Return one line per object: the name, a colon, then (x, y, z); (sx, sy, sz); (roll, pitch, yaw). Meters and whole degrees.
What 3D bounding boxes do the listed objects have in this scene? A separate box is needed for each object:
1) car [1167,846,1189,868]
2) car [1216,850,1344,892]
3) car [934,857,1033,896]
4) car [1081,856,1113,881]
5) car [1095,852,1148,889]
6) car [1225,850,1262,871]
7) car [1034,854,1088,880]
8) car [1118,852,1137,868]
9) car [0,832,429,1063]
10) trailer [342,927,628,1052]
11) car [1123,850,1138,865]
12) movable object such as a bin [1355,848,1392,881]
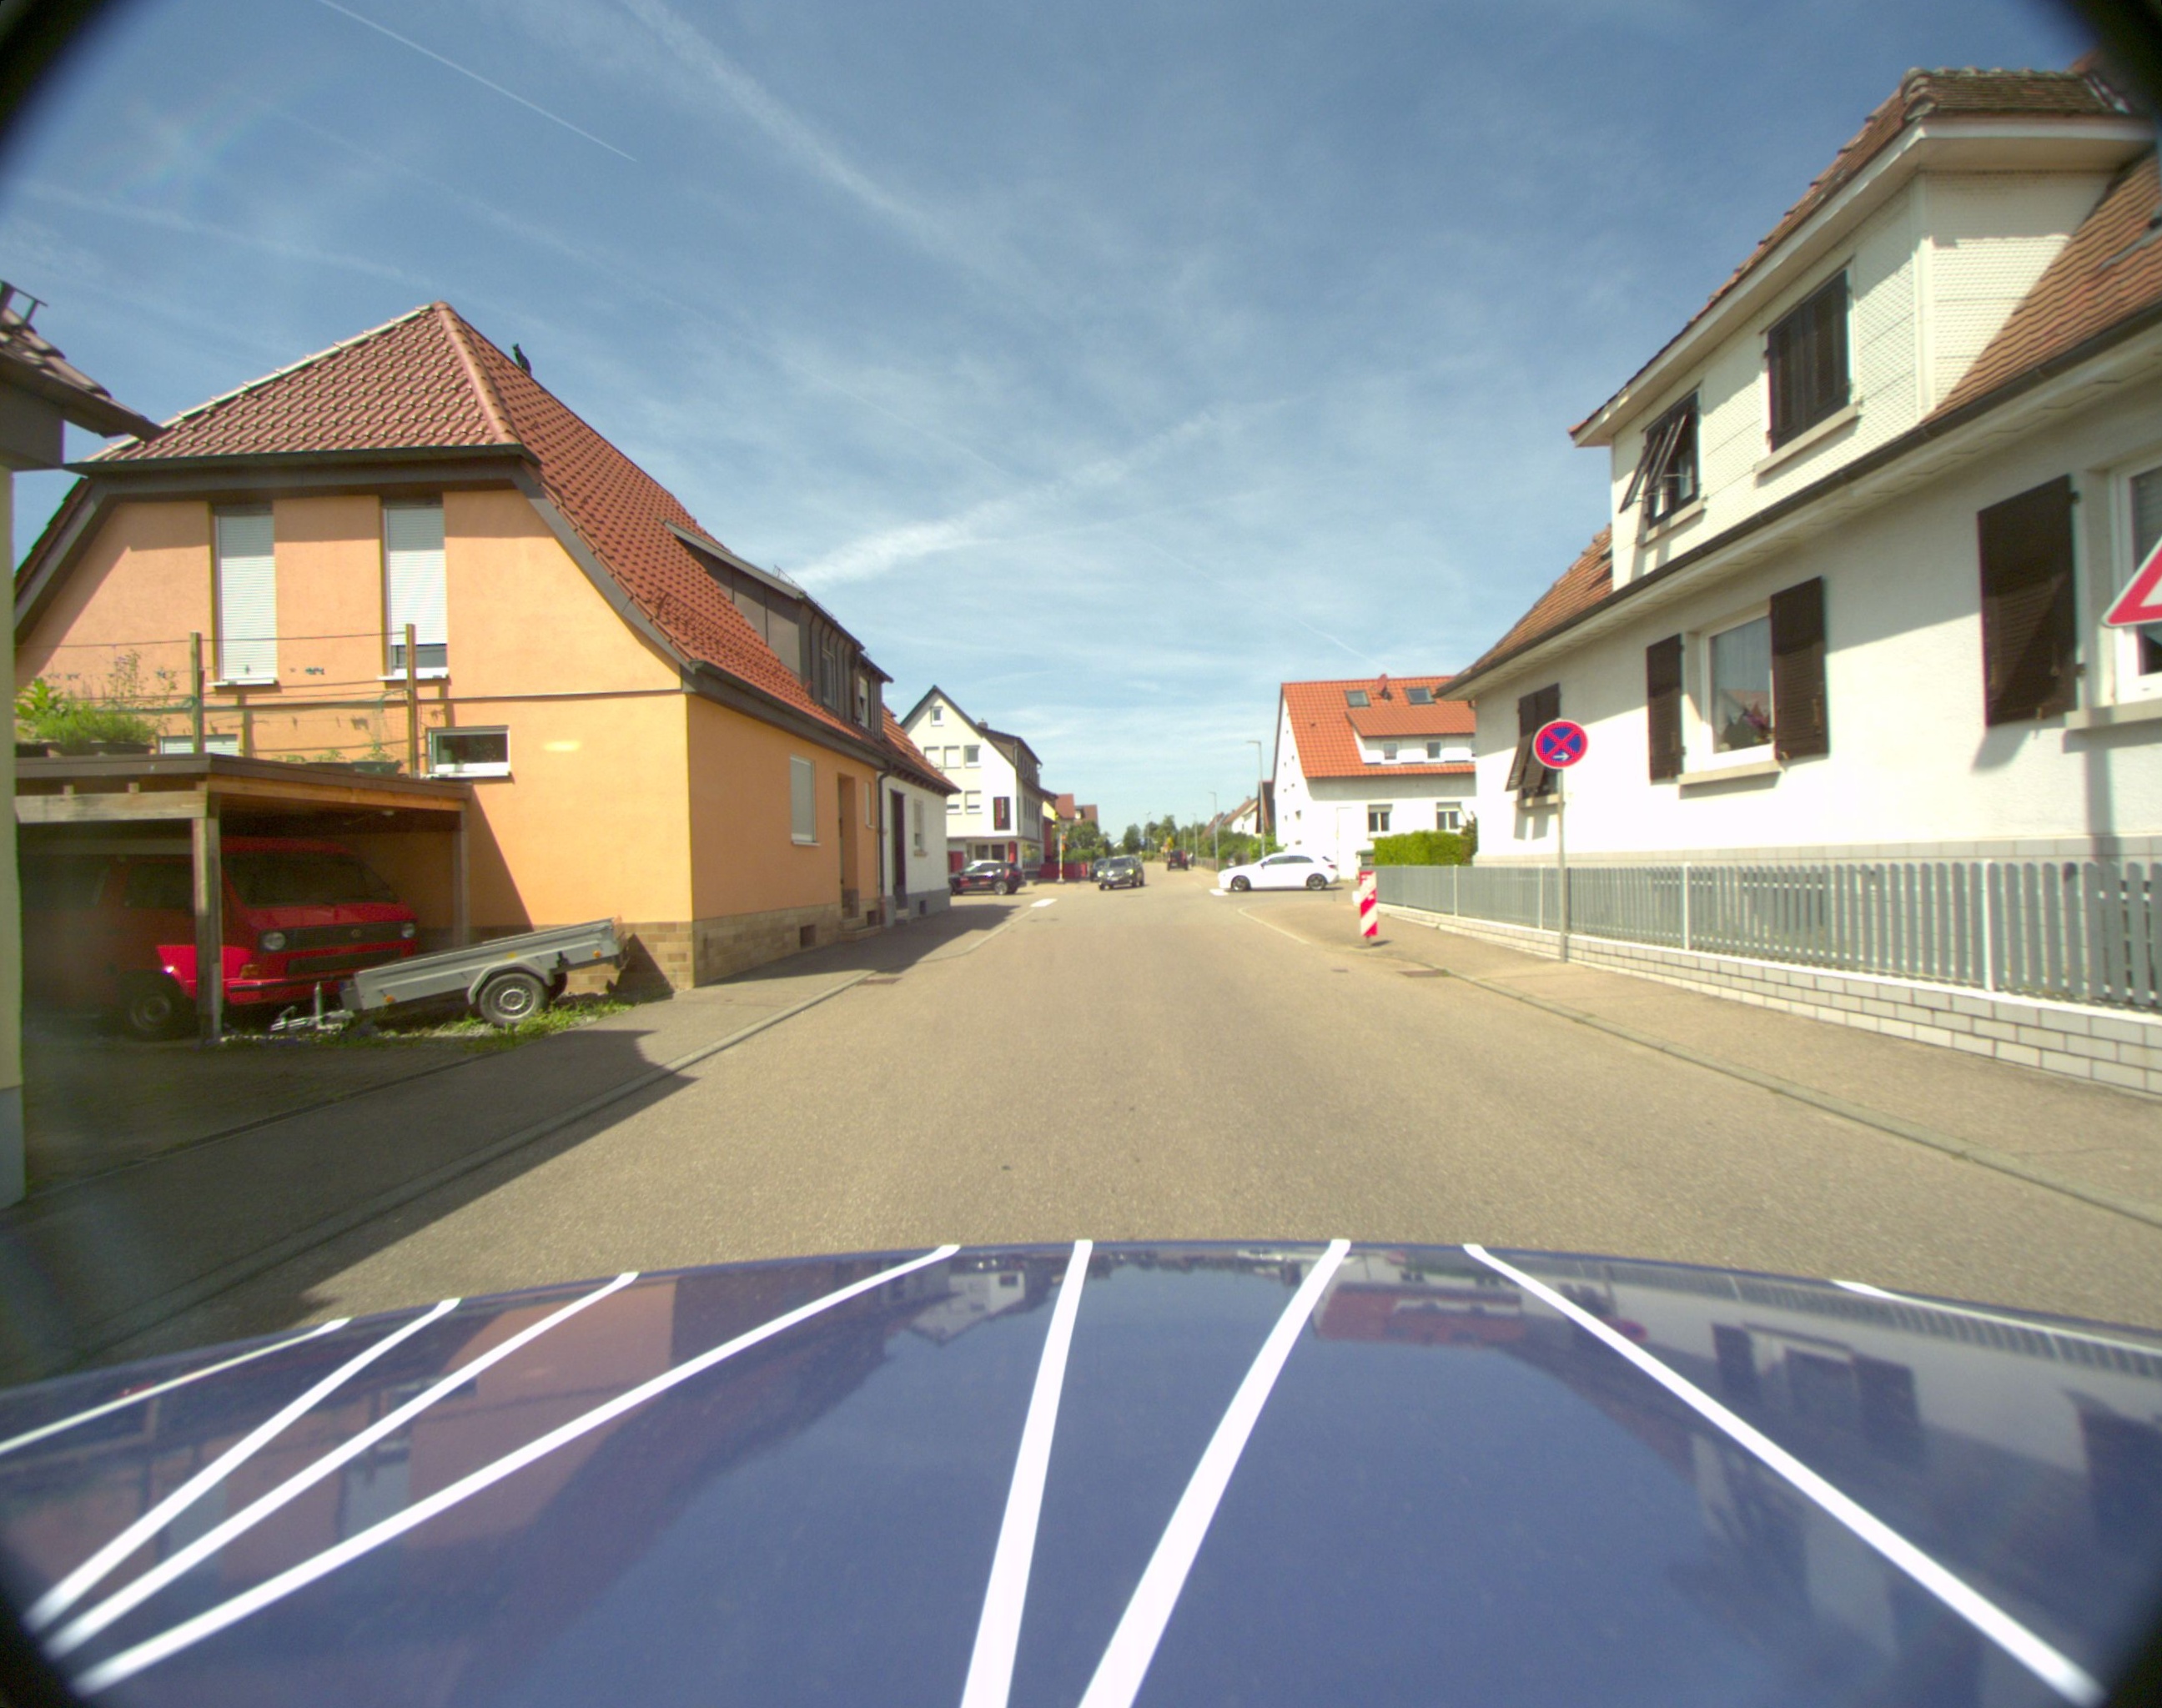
car: (9.473, 0.268, 74.284); (1.972, 1.940, 4.698); (-2, 0, 6)
car: (7.534, 0.641, 28.704); (4.484, 1.390, 1.932); (-2, 0, 20)
car: (-4.714, 1.086, 37.004); (4.301, 1.643, 1.849); (-2, 0, 11)
car: (1.114, 0.944, 52.152); (1.765, 1.518, 4.407); (-3, 0, 6)
car: (2.096, 0.776, 37.869); (1.836, 1.637, 4.327); (-3, 0, 13)
car: (11.934, 0.455, 55.555); (1.829, 1.423, 4.570); (-2, 0, 22)
car: (-1.754, 1.129, 66.461); (4.377, 1.659, 1.877); (-8, 0, 4)
car: (5.145, 0.649, 83.530); (1.740, 1.652, 4.338); (-4, 0, 6)
car: (-9.761, 0.902, 7.981); (4.221, 2.059, 1.836); (-2, 1, 2)
trailer: (-6.094, 1.346, 8.020); (2.145, 0.894, 1.240); (-2, 0, -27)
car: (6.247, 0.391, 95.429); (1.669, 1.739, 4.057); (-2, 0, 6)
movable object such as a bin: (12.189, 0.430, 31.740); (1.264, 1.306, 1.167); (-3, 1, 14)
